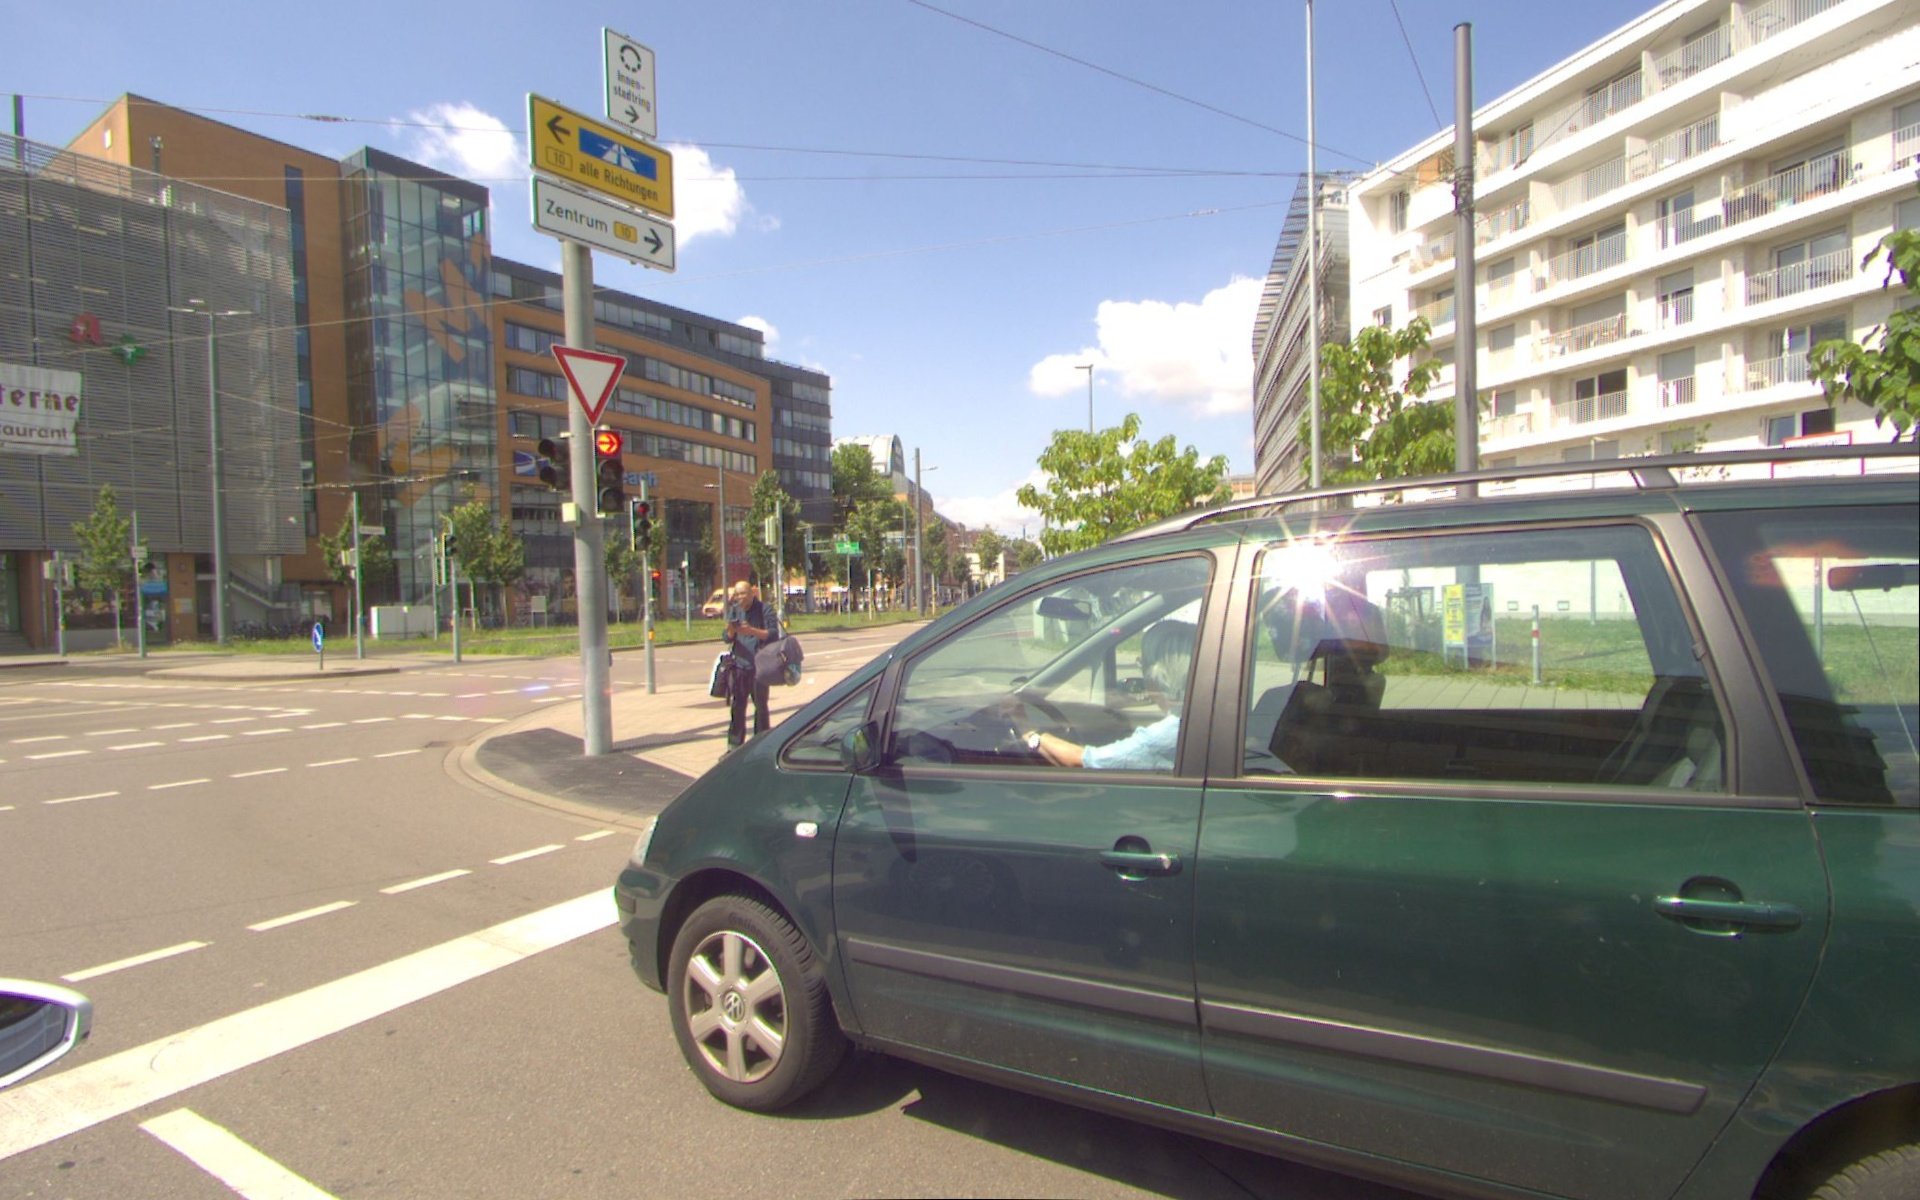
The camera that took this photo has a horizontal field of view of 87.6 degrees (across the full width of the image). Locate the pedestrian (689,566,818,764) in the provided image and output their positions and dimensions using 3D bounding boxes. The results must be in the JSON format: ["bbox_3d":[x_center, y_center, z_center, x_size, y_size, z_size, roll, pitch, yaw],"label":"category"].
[{"bbox_3d":[-1.872,0.570,9.204,0.901,1.725,0.808,-2,2,5],"label":"pedestrian"}]

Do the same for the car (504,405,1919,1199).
[{"bbox_3d":[1.002,0.614,2.924,4.959,1.779,1.815,-1,-1,32],"label":"car"}]

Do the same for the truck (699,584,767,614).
[{"bbox_3d":[-16.494,-0.015,72.982,1.967,2.113,5.508,0,-1,23],"label":"truck"}]

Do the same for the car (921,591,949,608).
[{"bbox_3d":[-2.936,-0.061,118.284,1.964,2.040,3.992,-1,0,18],"label":"car"}]
